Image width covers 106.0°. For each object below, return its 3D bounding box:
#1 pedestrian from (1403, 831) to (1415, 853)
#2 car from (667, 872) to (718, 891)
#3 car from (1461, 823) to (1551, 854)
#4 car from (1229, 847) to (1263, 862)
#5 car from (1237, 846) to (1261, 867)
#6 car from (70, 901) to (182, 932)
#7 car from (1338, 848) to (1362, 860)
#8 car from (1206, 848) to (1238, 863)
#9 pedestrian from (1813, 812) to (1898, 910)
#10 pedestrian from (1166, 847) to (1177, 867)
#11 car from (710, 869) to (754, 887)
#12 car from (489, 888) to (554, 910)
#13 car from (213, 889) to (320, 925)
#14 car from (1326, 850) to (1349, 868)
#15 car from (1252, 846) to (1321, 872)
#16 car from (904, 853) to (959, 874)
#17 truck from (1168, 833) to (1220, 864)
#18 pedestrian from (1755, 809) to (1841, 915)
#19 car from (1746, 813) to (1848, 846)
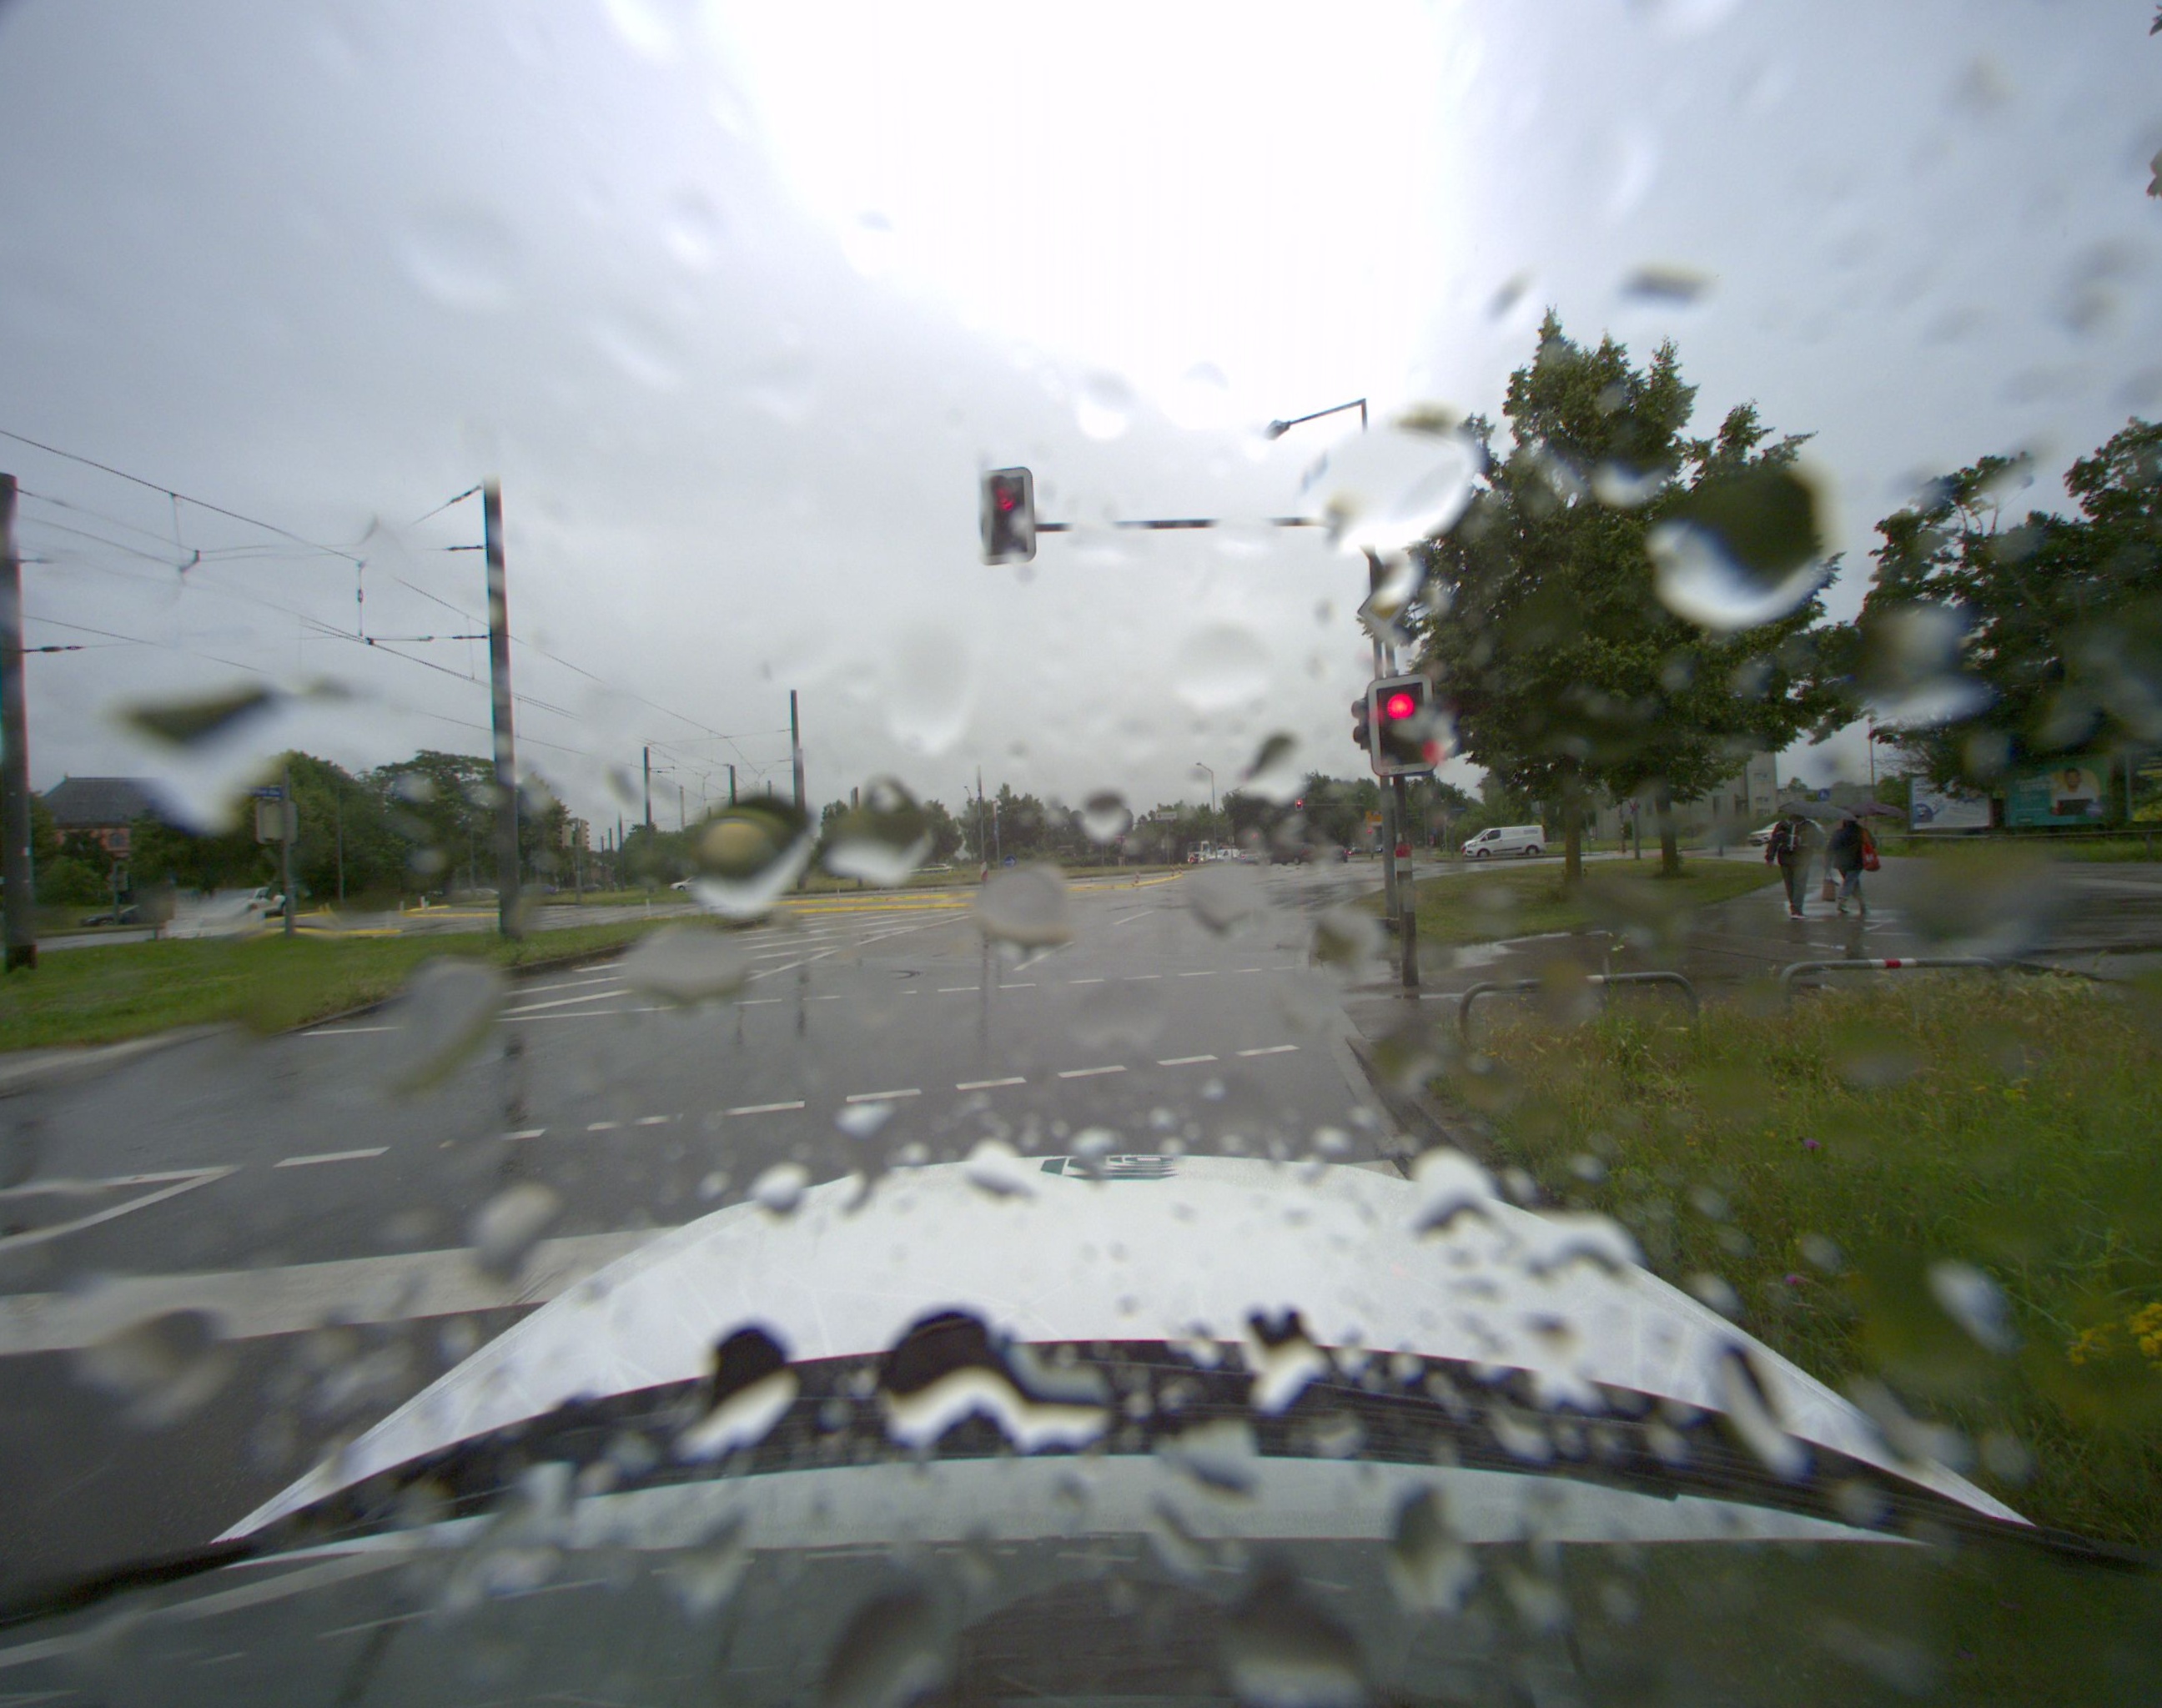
[{"bbox_3d":[28.522,-1.039,70.768,0.811,1.868,0.670,0,-1,9],"label":"pedestrian"},{"bbox_3d":[-35.158,2.463,73.679,4.001,1.454,1.607,-2,0,-32],"label":"car"},{"bbox_3d":[27.027,-0.963,51.919,4.730,1.851,2.006,0,-1,10],"label":"car"},{"bbox_3d":[19.120,0.123,94.337,1.779,1.662,4.436,-1,-1,43],"label":"car"},{"bbox_3d":[15.209,0.276,74.004,1.981,1.851,4.788,0,-1,10],"label":"car"},{"bbox_3d":[-54.461,3.536,46.505,1.602,1.454,4.013,-3,0,36],"label":"car"},{"bbox_3d":[38.721,0.010,117.260,1.779,1.662,4.024,-1,-1,43],"label":"car"},{"bbox_3d":[16.609,0.163,95.915,1.779,1.662,4.159,-1,-1,43],"label":"car"},{"bbox_3d":[12.090,0.107,12.724,0.678,1.461,0.573,-3,-1,-3],"label":"pedestrian"},{"bbox_3d":[6.054,0.230,54.362,0.448,1.304,0.489,-3,-1,40],"label":"pedestrian"},{"bbox_3d":[-36.937,2.507,86.302,1.660,1.816,4.025,-1,-1,31],"label":"car"},{"bbox_3d":[-45.163,3.628,65.764,1.603,1.454,4.012,-3,0,42],"label":"car"},{"bbox_3d":[-39.695,2.526,39.827,1.619,1.454,4.097,-2,0,-11],"label":"car"},{"bbox_3d":[22.266,0.396,70.717,1.606,1.454,4.003,-2,0,14],"label":"car"},{"bbox_3d":[15.375,0.426,61.103,2.010,1.851,4.719,1,-1,-41],"label":"car"},{"bbox_3d":[-14.636,0.958,79.753,4.729,1.851,2.006,-2,0,11],"label":"car"},{"bbox_3d":[10.395,-0.407,74.044,2.439,2.686,8.105,-1,-1,25],"label":"truck"},{"bbox_3d":[10.718,0.115,12.196,0.619,1.522,0.741,-1,0,0],"label":"pedestrian"},{"bbox_3d":[45.474,-1.532,51.807,4.747,1.851,1.999,-3,0,-2],"label":"car"}]
